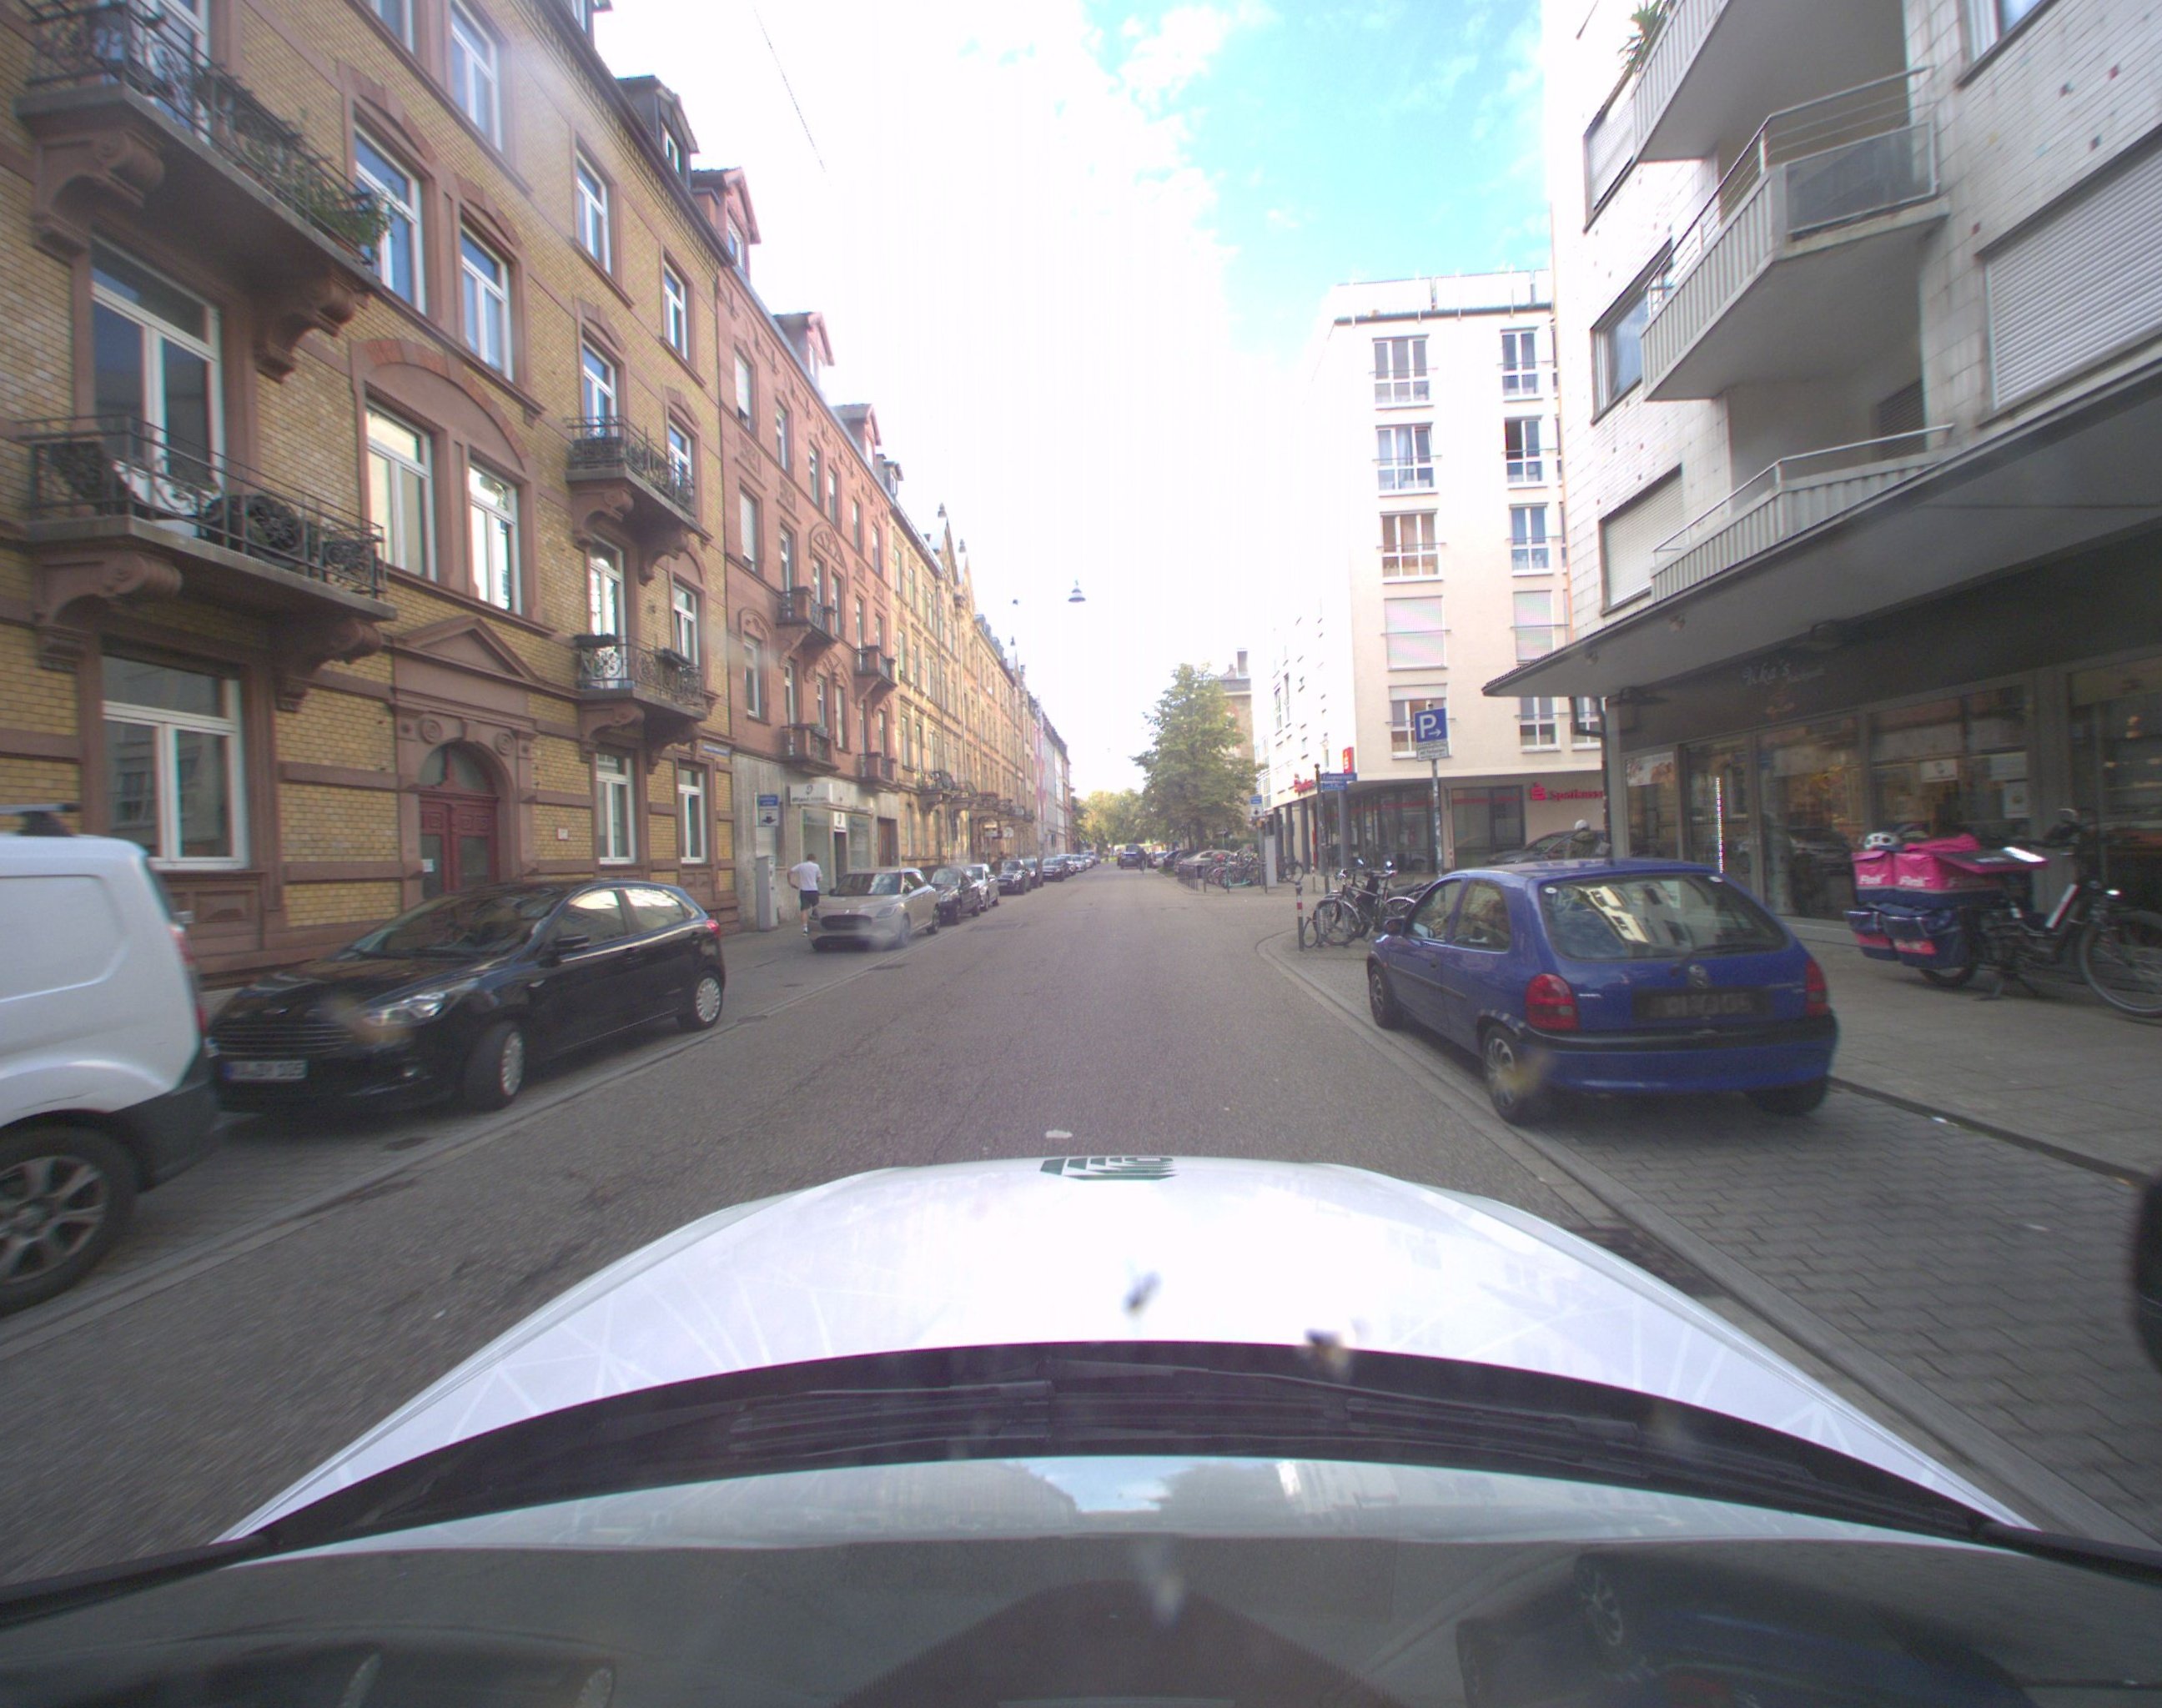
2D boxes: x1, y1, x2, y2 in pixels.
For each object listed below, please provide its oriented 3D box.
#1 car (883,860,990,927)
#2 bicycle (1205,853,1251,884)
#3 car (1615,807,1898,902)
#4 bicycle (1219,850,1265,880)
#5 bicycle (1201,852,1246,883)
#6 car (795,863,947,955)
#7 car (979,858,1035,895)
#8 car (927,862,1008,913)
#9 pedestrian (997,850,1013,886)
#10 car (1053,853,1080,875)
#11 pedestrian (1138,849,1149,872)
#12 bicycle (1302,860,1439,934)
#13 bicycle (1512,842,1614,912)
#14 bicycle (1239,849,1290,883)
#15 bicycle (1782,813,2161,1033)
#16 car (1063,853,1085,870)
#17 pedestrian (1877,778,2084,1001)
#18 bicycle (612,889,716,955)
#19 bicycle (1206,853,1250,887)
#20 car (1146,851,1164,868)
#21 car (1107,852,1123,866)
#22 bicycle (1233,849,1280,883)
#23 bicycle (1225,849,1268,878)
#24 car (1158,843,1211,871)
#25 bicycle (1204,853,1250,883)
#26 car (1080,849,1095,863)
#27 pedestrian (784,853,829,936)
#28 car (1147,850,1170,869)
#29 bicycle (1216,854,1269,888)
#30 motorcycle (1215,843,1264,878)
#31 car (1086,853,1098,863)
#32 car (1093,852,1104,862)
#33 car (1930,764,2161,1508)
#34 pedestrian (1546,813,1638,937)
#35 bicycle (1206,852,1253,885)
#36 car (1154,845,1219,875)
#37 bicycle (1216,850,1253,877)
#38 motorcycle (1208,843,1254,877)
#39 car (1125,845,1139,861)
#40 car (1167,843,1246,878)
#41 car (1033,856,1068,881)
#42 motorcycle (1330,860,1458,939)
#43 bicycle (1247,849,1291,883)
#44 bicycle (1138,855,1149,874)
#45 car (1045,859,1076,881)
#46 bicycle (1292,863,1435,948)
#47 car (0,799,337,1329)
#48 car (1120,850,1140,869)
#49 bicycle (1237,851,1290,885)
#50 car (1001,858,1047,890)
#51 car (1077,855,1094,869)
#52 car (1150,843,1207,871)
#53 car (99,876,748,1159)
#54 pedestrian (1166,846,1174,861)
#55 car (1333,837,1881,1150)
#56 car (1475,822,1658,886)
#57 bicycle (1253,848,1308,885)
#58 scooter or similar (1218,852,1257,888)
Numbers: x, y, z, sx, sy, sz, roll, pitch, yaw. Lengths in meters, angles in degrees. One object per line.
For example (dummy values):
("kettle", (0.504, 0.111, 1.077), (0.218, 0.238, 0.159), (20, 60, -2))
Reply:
("car", (-3.613, 0.934, 21.098), (1.734, 1.483, 3.988), (-2, 0, 4))
("bicycle", (6.008, 0.602, 33.384), (1.757, 1.099, 0.412), (-5, 0, 6))
("car", (12.666, 0.023, 15.479), (3.768, 1.501, 1.799), (-3, -1, 3))
("bicycle", (6.991, 0.496, 35.425), (1.777, 1.159, 0.503), (-5, 0, 29))
("bicycle", (6.138, 0.586, 35.060), (1.785, 1.159, 0.501), (-5, 0, 6))
("car", (-3.982, 0.979, 16.150), (1.734, 1.483, 3.987), (-2, 0, 3))
("car", (-3.032, 0.888, 34.072), (1.682, 1.386, 3.872), (-2, 0, 4))
("car", (-3.431, 0.982, 25.303), (1.682, 1.386, 3.872), (-2, 0, 4))
("pedestrian", (-4.052, 0.731, 43.533), (0.686, 1.853, 0.932), (-2, 0, 5))
("car", (-1.101, 0.757, 62.831), (1.682, 1.550, 3.872), (-2, 0, 4))
("pedestrian", (4.475, 0.441, 58.416), (0.715, 1.650, 0.931), (-2, 0, 4))
("bicycle", (4.713, 0.712, 13.368), (0.694, 1.095, 1.939), (-2, -1, -44))
("bicycle", (8.847, 0.412, 15.040), (0.533, 1.191, 1.930), (-3, -1, -5))
("bicycle", (7.067, 0.450, 31.395), (1.761, 1.146, 0.411), (-5, 0, -3))
("bicycle", (6.831, 0.404, 6.172), (0.914, 1.291, 2.502), (-5, 0, 4))
("car", (-0.621, 0.665, 75.140), (1.683, 1.550, 3.870), (-1, 0, 3))
("pedestrian", (6.973, 0.258, 6.361), (0.641, 1.588, 0.782), (-5, 0, 5))
("bicycle", (-7.672, 1.228, 15.099), (0.893, 1.037, 1.774), (-2, 0, 4))
("bicycle", (5.574, 0.595, 30.871), (1.491, 1.146, 0.411), (-5, 0, -2))
("car", (7.320, 0.527, 81.086), (1.682, 1.550, 3.692), (-1, 0, 4))
("car", (3.964, 0.563, 95.736), (1.790, 1.472, 3.890), (-2, 0, 2))
("bicycle", (6.876, 0.474, 31.908), (1.770, 1.146, 0.409), (-5, 0, -17))
("bicycle", (7.391, 0.425, 36.402), (1.724, 1.159, 0.501), (-5, 0, 4))
("car", (8.137, 0.231, 64.332), (3.965, 1.683, 1.741), (-5, 8, 7))
("bicycle", (6.112, 0.594, 34.125), (1.757, 1.118, 0.412), (-5, 0, 6))
("car", (0.841, 0.285, 106.399), (1.683, 1.821, 3.870), (-1, 0, 3))
("pedestrian", (-6.047, 0.875, 17.963), (0.729, 1.790, 0.771), (1, 0, -4))
("car", (7.263, 0.484, 76.660), (1.922, 1.638, 4.004), (-2, 0, 4))
("bicycle", (5.857, 0.606, 29.485), (1.761, 1.056, 0.411), (-5, 0, -2))
("motorcycle", (7.444, 0.313, 38.297), (2.138, 1.434, 0.767), (-5, 0, 7))
("car", (1.685, 0.599, 121.523), (1.683, 1.550, 3.870), (-1, 0, 3))
("car", (2.930, 0.524, 134.649), (1.580, 1.539, 3.758), (-2, 0, 5))
("car", (3.036, 0.563, 0.161), (1.682, 1.577, 3.904), (-3, 0, 2))
("pedestrian", (6.871, 0.275, 10.994), (0.817, 1.588, 0.784), (-3, 0, 18))
("bicycle", (5.837, 0.570, 32.026), (1.770, 1.146, 0.409), (-5, 0, -17))
("car", (6.752, 0.354, 52.166), (3.964, 1.583, 2.005), (-5, 0, 8))
("bicycle", (7.464, 0.467, 39.644), (1.656, 1.159, 0.557), (-5, 0, 4))
("motorcycle", (7.568, 0.301, 41.242), (2.138, 1.530, 0.687), (-5, 0, 7))
("car", (6.811, -0.157, 108.972), (1.775, 2.020, 3.890), (-2, 0, 2))
("car", (6.675, 0.363, 43.563), (3.757, 1.546, 1.726), (-5, -1, -7))
("car", (-1.850, 0.863, 50.531), (1.682, 1.369, 3.872), (2, 0, 4))
("motorcycle", (4.729, 0.695, 12.383), (0.612, 1.095, 1.645), (-4, -1, -44))
("bicycle", (7.115, 0.446, 30.853), (1.489, 1.146, 0.412), (-5, 0, 3))
("bicycle", (4.478, 0.747, 58.325), (0.715, 1.274, 1.886), (-2, 0, 4))
("car", (-1.381, 1.066, 55.737), (1.682, 1.369, 3.872), (1, 0, 4))
("bicycle", (4.021, 0.738, 11.701), (0.688, 1.095, 1.748), (-4, -1, -44))
("car", (-4.871, 0.779, 1.915), (1.911, 1.871, 4.442), (-2, 0, 4))
("car", (4.853, 0.566, 80.713), (1.956, 1.741, 4.045), (-2, -1, 3))
("bicycle", (6.731, 0.515, 30.086), (1.757, 1.087, 0.651), (-5, 0, 5))
("car", (-2.740, 0.938, 40.099), (1.682, 1.437, 3.872), (-2, 0, 4))
("car", (0.490, 0.862, 89.892), (1.683, 1.550, 3.870), (-1, 0, 3))
("car", (7.136, 0.199, 59.306), (3.964, 1.640, 2.005), (-5, 0, 8))
("car", (-4.542, 0.981, 6.562), (1.733, 1.483, 3.989), (-2, -1, 5))
("pedestrian", (13.001, -0.090, 119.064), (0.991, 2.230, 0.899), (-2, 0, 4))
("car", (3.153, 0.668, 5.956), (1.588, 1.439, 4.035), (-3, 0, 4))
("car", (14.411, -0.017, 24.372), (4.342, 1.630, 1.810), (-3, 2, 4))
("bicycle", (7.098, 0.440, 29.019), (1.757, 1.162, 0.651), (-5, 0, 5))
("scooter or similar", (5.556, 0.571, 28.886), (1.193, 1.147, 0.381), (-5, 1, 35))
